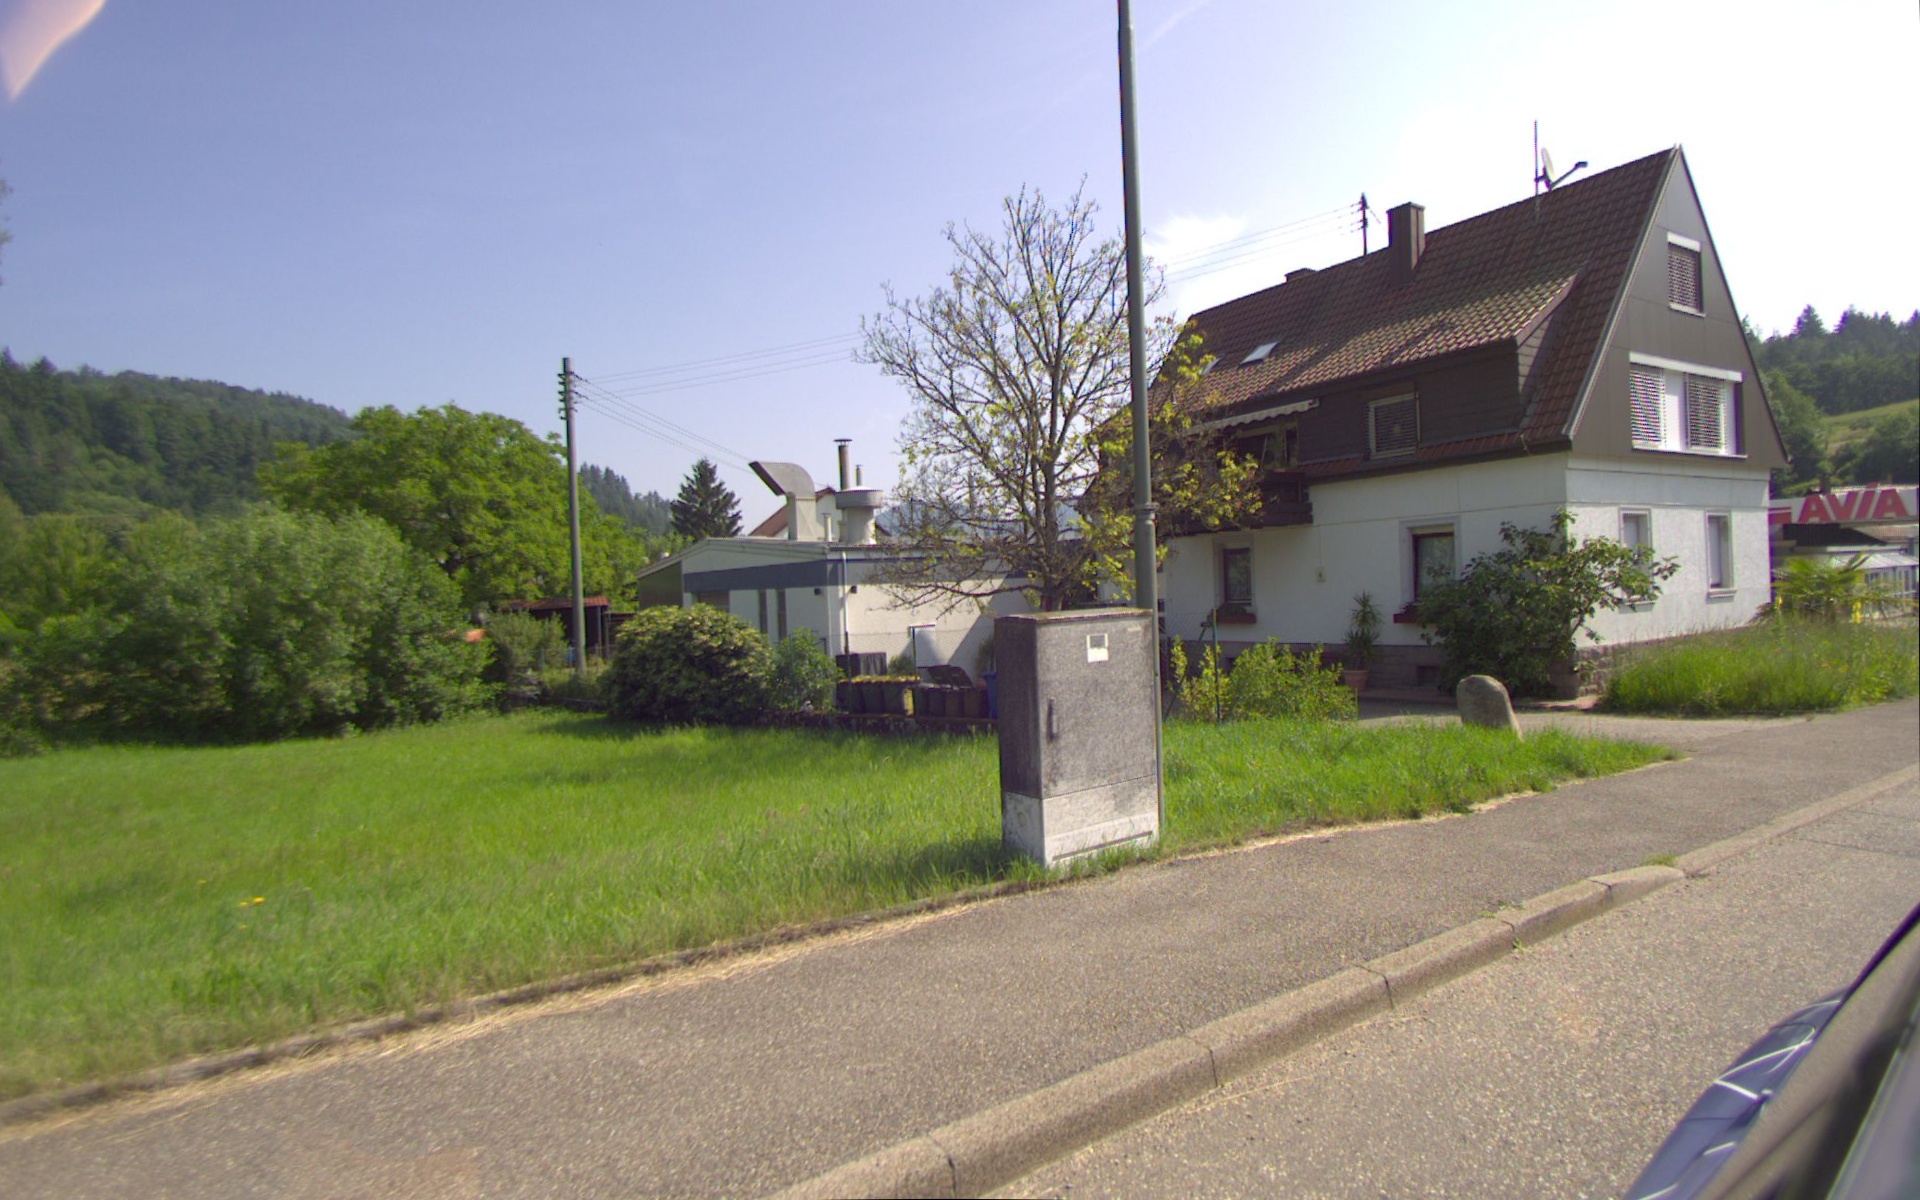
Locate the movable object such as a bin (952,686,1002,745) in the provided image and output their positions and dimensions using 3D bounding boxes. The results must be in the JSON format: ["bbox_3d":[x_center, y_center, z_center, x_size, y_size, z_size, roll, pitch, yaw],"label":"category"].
[{"bbox_3d":[0.284,1.935,17.022,0.577,0.911,0.568,-1,-2,-45],"label":"movable object such as a bin"}]

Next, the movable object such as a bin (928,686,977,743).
[{"bbox_3d":[-0.131,1.964,17.438,0.577,0.911,0.568,-1,-2,-45],"label":"movable object such as a bin"}]

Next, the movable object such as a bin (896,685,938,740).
[{"bbox_3d":[-0.770,2.009,18.118,0.577,0.911,0.419,-1,-2,-45],"label":"movable object such as a bin"}]

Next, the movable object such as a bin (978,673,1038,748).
[{"bbox_3d":[0.786,1.790,16.531,0.786,1.133,0.568,-1,-2,-45],"label":"movable object such as a bin"}]

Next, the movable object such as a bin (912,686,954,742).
[{"bbox_3d":[-0.473,1.988,17.805,0.577,0.911,0.419,-1,-2,-45],"label":"movable object such as a bin"}]

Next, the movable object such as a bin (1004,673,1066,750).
[{"bbox_3d":[1.203,1.761,16.113,0.780,1.133,0.568,-1,-2,-45],"label":"movable object such as a bin"}]
